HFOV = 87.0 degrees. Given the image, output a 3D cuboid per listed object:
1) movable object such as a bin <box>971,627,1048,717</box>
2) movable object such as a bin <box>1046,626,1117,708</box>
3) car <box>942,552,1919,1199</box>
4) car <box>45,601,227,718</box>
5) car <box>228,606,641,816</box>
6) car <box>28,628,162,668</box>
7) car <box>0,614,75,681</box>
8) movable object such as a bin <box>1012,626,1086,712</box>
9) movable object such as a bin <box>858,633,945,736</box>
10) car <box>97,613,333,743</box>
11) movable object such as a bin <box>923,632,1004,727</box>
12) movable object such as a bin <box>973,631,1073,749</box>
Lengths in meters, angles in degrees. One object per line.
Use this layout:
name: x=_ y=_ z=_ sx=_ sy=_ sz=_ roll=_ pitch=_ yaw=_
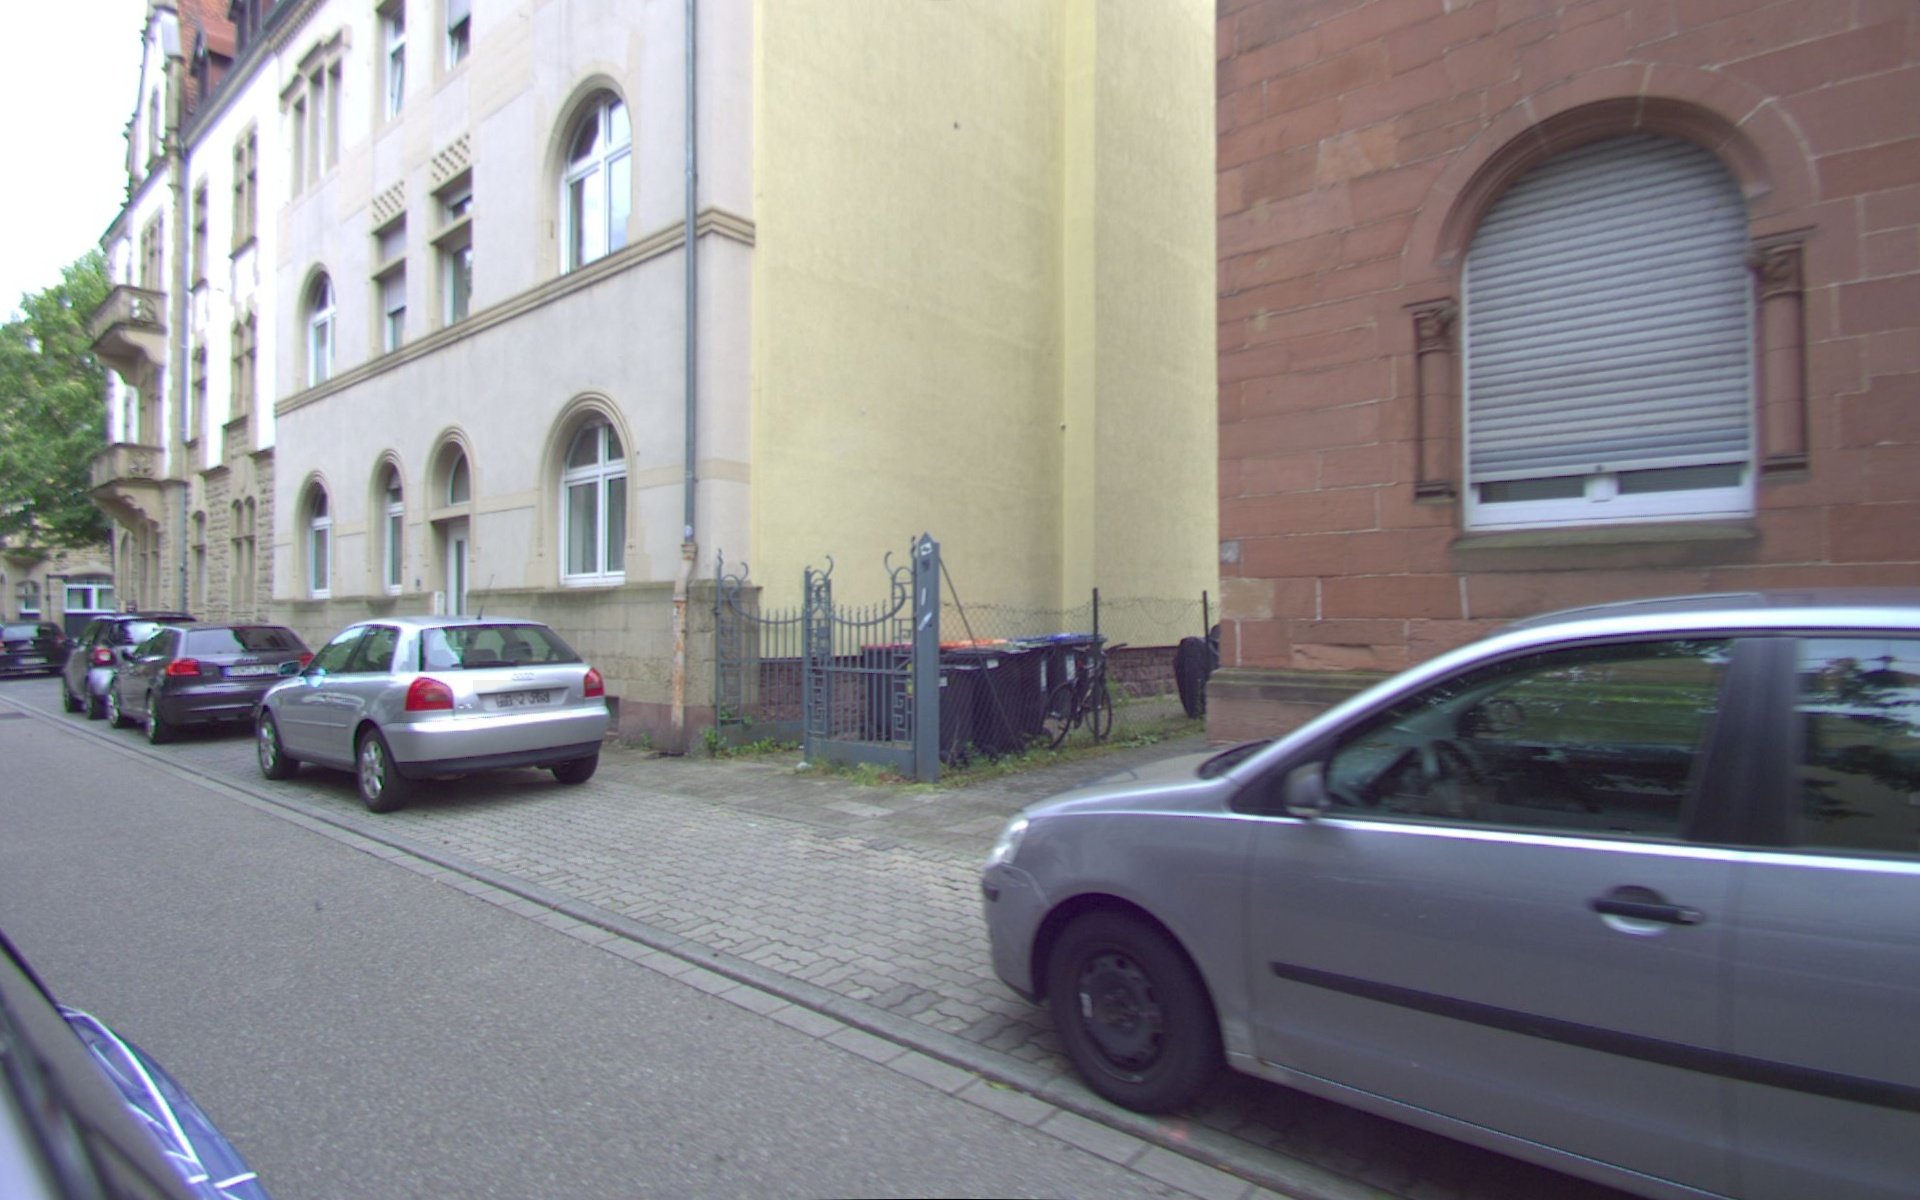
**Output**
movable object such as a bin: x=0.612 y=0.869 z=12.555 sx=0.730 sy=1.063 sz=0.607 roll=-1 pitch=-1 yaw=41
movable object such as a bin: x=1.654 y=0.891 z=13.756 sx=0.730 sy=1.063 sz=0.607 roll=-1 pitch=-1 yaw=41
car: x=1.973 y=0.622 z=2.560 sx=3.926 sy=1.431 sz=1.645 roll=-1 pitch=0 yaw=41
car: x=-12.944 y=0.887 z=15.867 sx=2.954 sy=1.582 sz=1.630 roll=-2 pitch=1 yaw=40
car: x=-4.687 y=0.785 z=8.768 sx=4.133 sy=1.397 sz=1.709 roll=-1 pitch=-1 yaw=40
car: x=-36.494 y=1.997 z=42.757 sx=4.220 sy=1.477 sz=1.665 roll=1 pitch=2 yaw=-43
car: x=-23.760 y=1.160 z=25.514 sx=3.999 sy=1.505 sz=1.691 roll=-1 pitch=2 yaw=42
movable object such as a bin: x=1.163 y=0.883 z=13.197 sx=0.730 sy=1.063 sz=0.607 roll=-1 pitch=-1 yaw=41
movable object such as a bin: x=-0.642 y=0.903 z=11.088 sx=0.730 sy=1.063 sz=0.607 roll=-1 pitch=-1 yaw=41
car: x=-9.731 y=0.910 z=13.109 sx=3.928 sy=1.397 sz=1.708 roll=-2 pitch=-1 yaw=42
movable object such as a bin: x=0.036 y=0.915 z=11.940 sx=0.730 sy=1.063 sz=0.607 roll=-1 pitch=-1 yaw=41
movable object such as a bin: x=0.604 y=0.836 z=9.710 sx=0.730 sy=1.063 sz=0.607 roll=-1 pitch=-1 yaw=41
